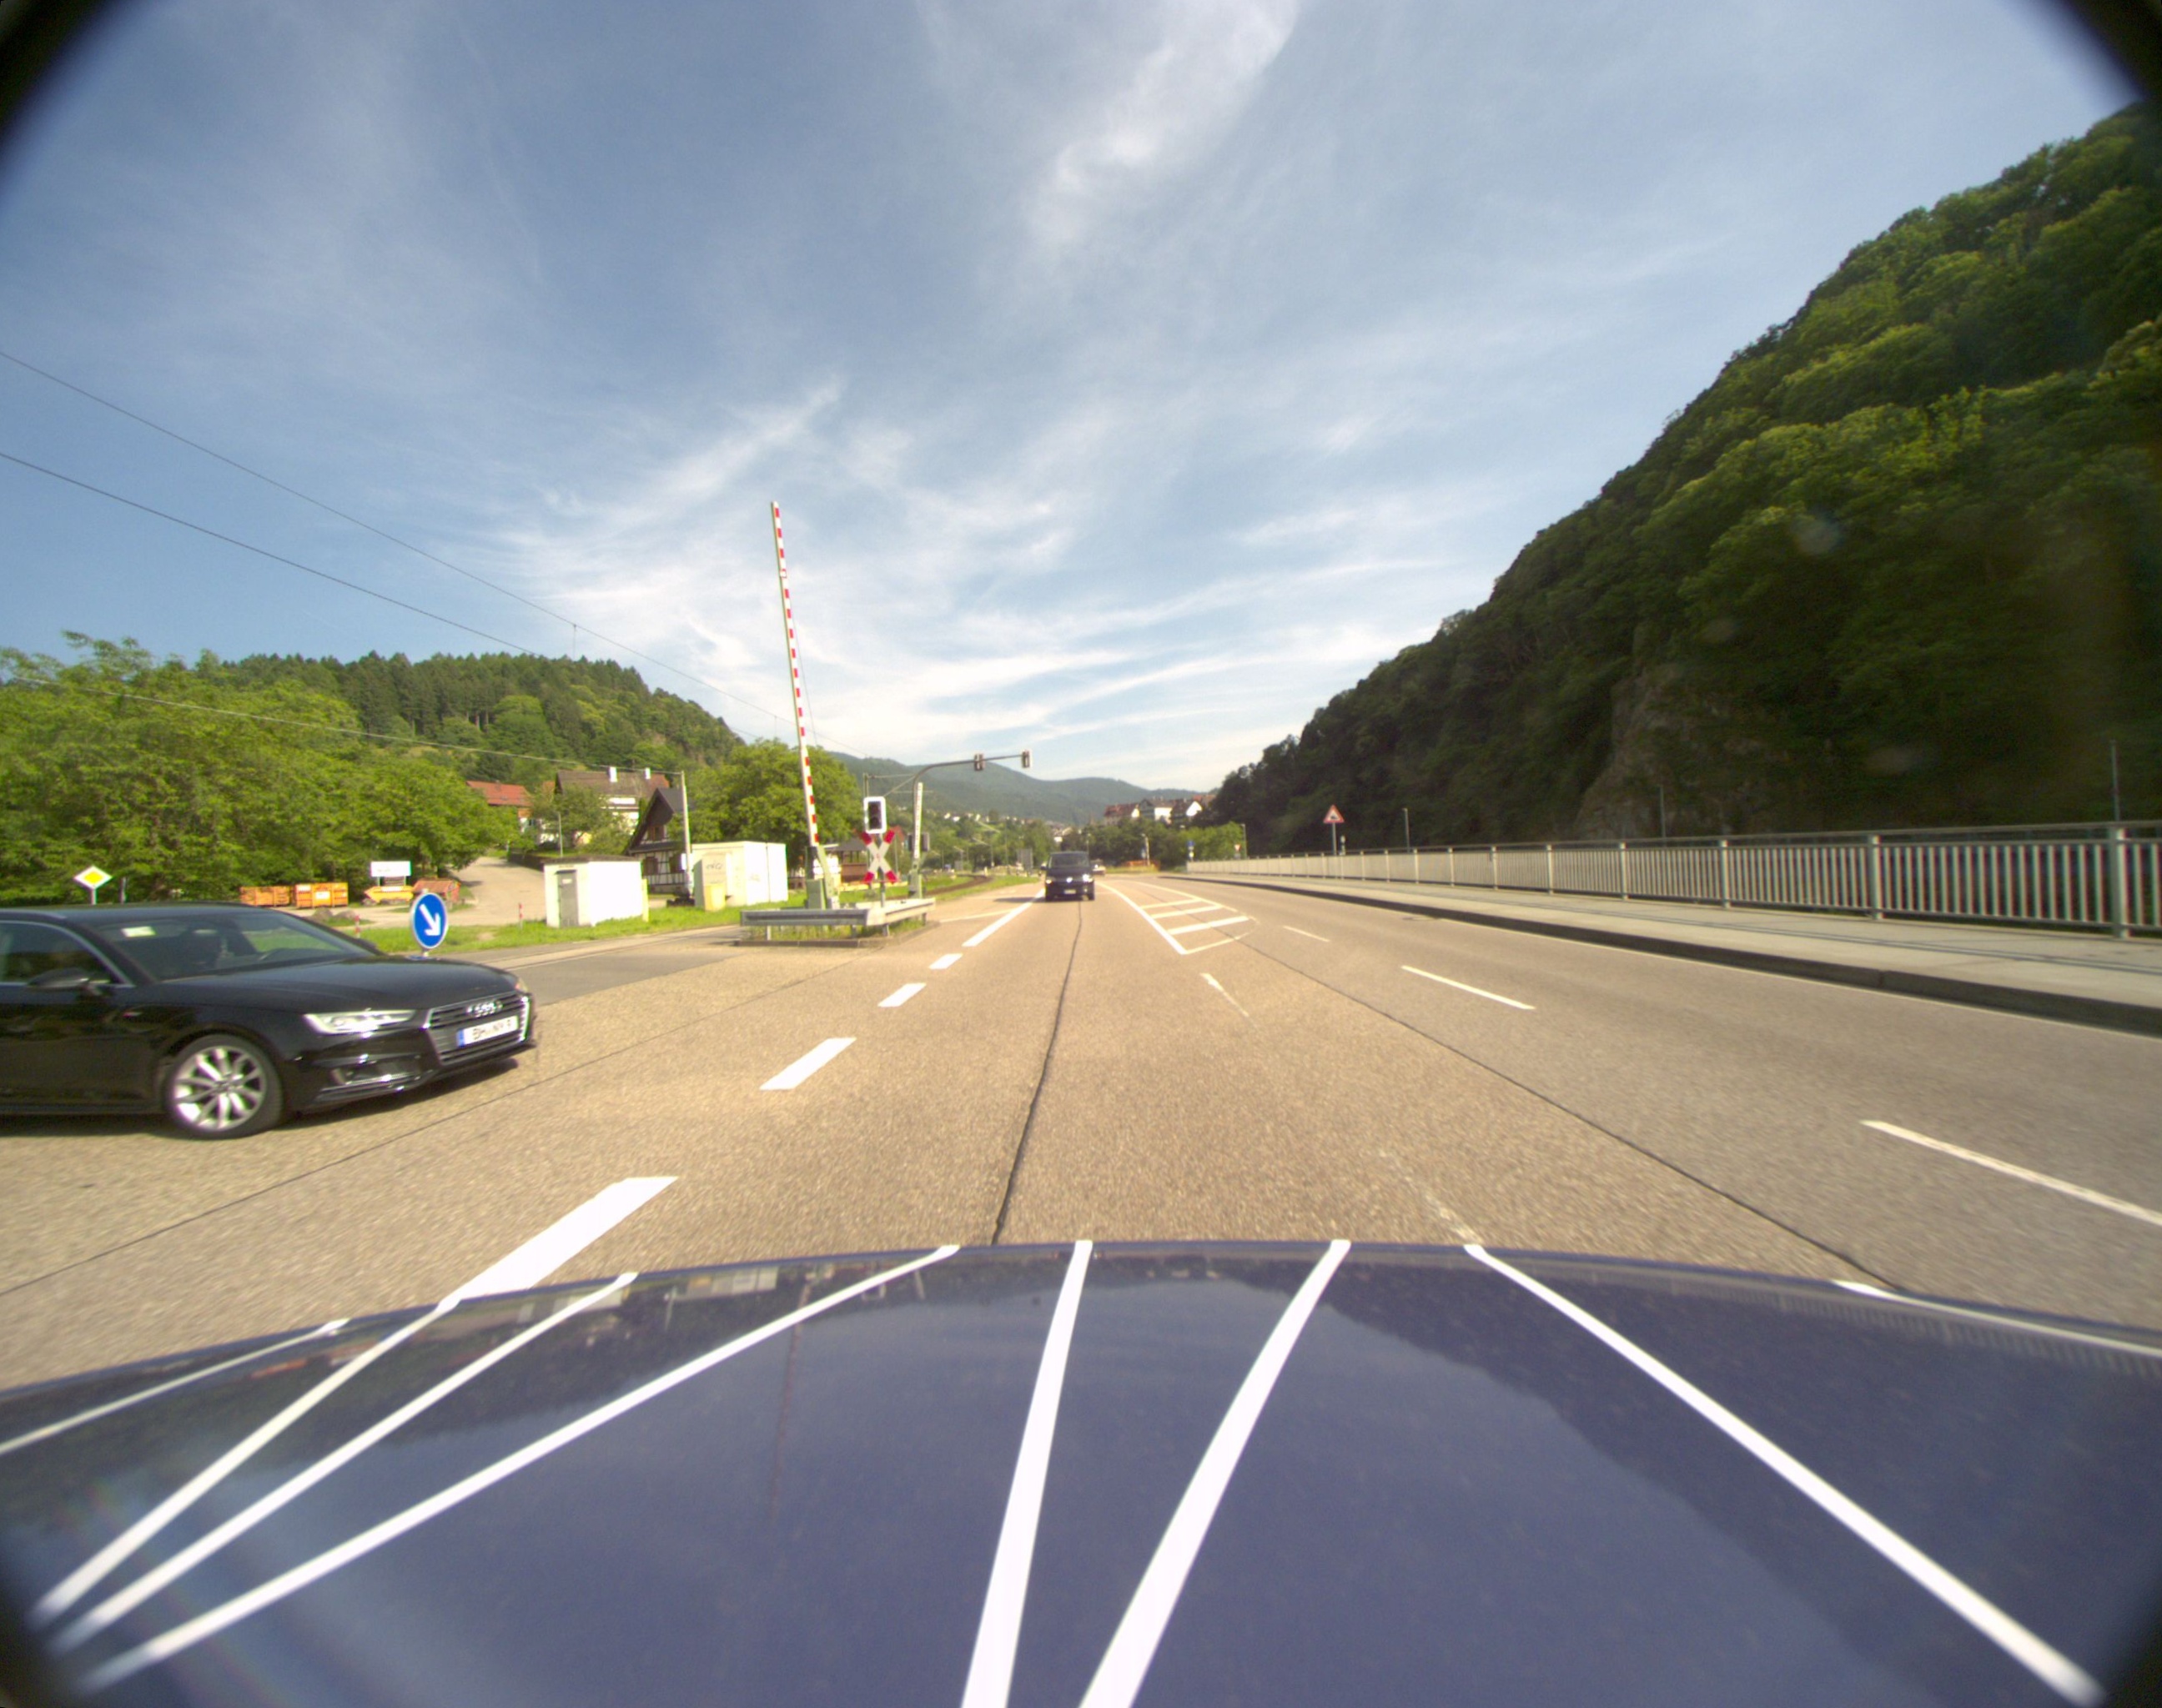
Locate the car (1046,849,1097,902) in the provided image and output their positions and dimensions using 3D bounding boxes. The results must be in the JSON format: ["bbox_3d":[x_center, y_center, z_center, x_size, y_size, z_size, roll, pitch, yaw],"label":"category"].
[{"bbox_3d":[-0.436,0.825,30.621,1.865,1.936,4.638,-1,-1,-2],"label":"car"}]

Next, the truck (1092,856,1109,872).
[{"bbox_3d":[2.904,1.519,114.981,2.170,2.373,5.854,-3,-1,-2],"label":"truck"}]

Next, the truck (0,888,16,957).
[{"bbox_3d":[-37.323,2.309,22.761,2.401,2.220,5.947,-1,1,28],"label":"truck"}]

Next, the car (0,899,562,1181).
[{"bbox_3d":[-6.572,1.141,5.248,4.737,1.461,1.842,-1,0,2],"label":"car"}]
